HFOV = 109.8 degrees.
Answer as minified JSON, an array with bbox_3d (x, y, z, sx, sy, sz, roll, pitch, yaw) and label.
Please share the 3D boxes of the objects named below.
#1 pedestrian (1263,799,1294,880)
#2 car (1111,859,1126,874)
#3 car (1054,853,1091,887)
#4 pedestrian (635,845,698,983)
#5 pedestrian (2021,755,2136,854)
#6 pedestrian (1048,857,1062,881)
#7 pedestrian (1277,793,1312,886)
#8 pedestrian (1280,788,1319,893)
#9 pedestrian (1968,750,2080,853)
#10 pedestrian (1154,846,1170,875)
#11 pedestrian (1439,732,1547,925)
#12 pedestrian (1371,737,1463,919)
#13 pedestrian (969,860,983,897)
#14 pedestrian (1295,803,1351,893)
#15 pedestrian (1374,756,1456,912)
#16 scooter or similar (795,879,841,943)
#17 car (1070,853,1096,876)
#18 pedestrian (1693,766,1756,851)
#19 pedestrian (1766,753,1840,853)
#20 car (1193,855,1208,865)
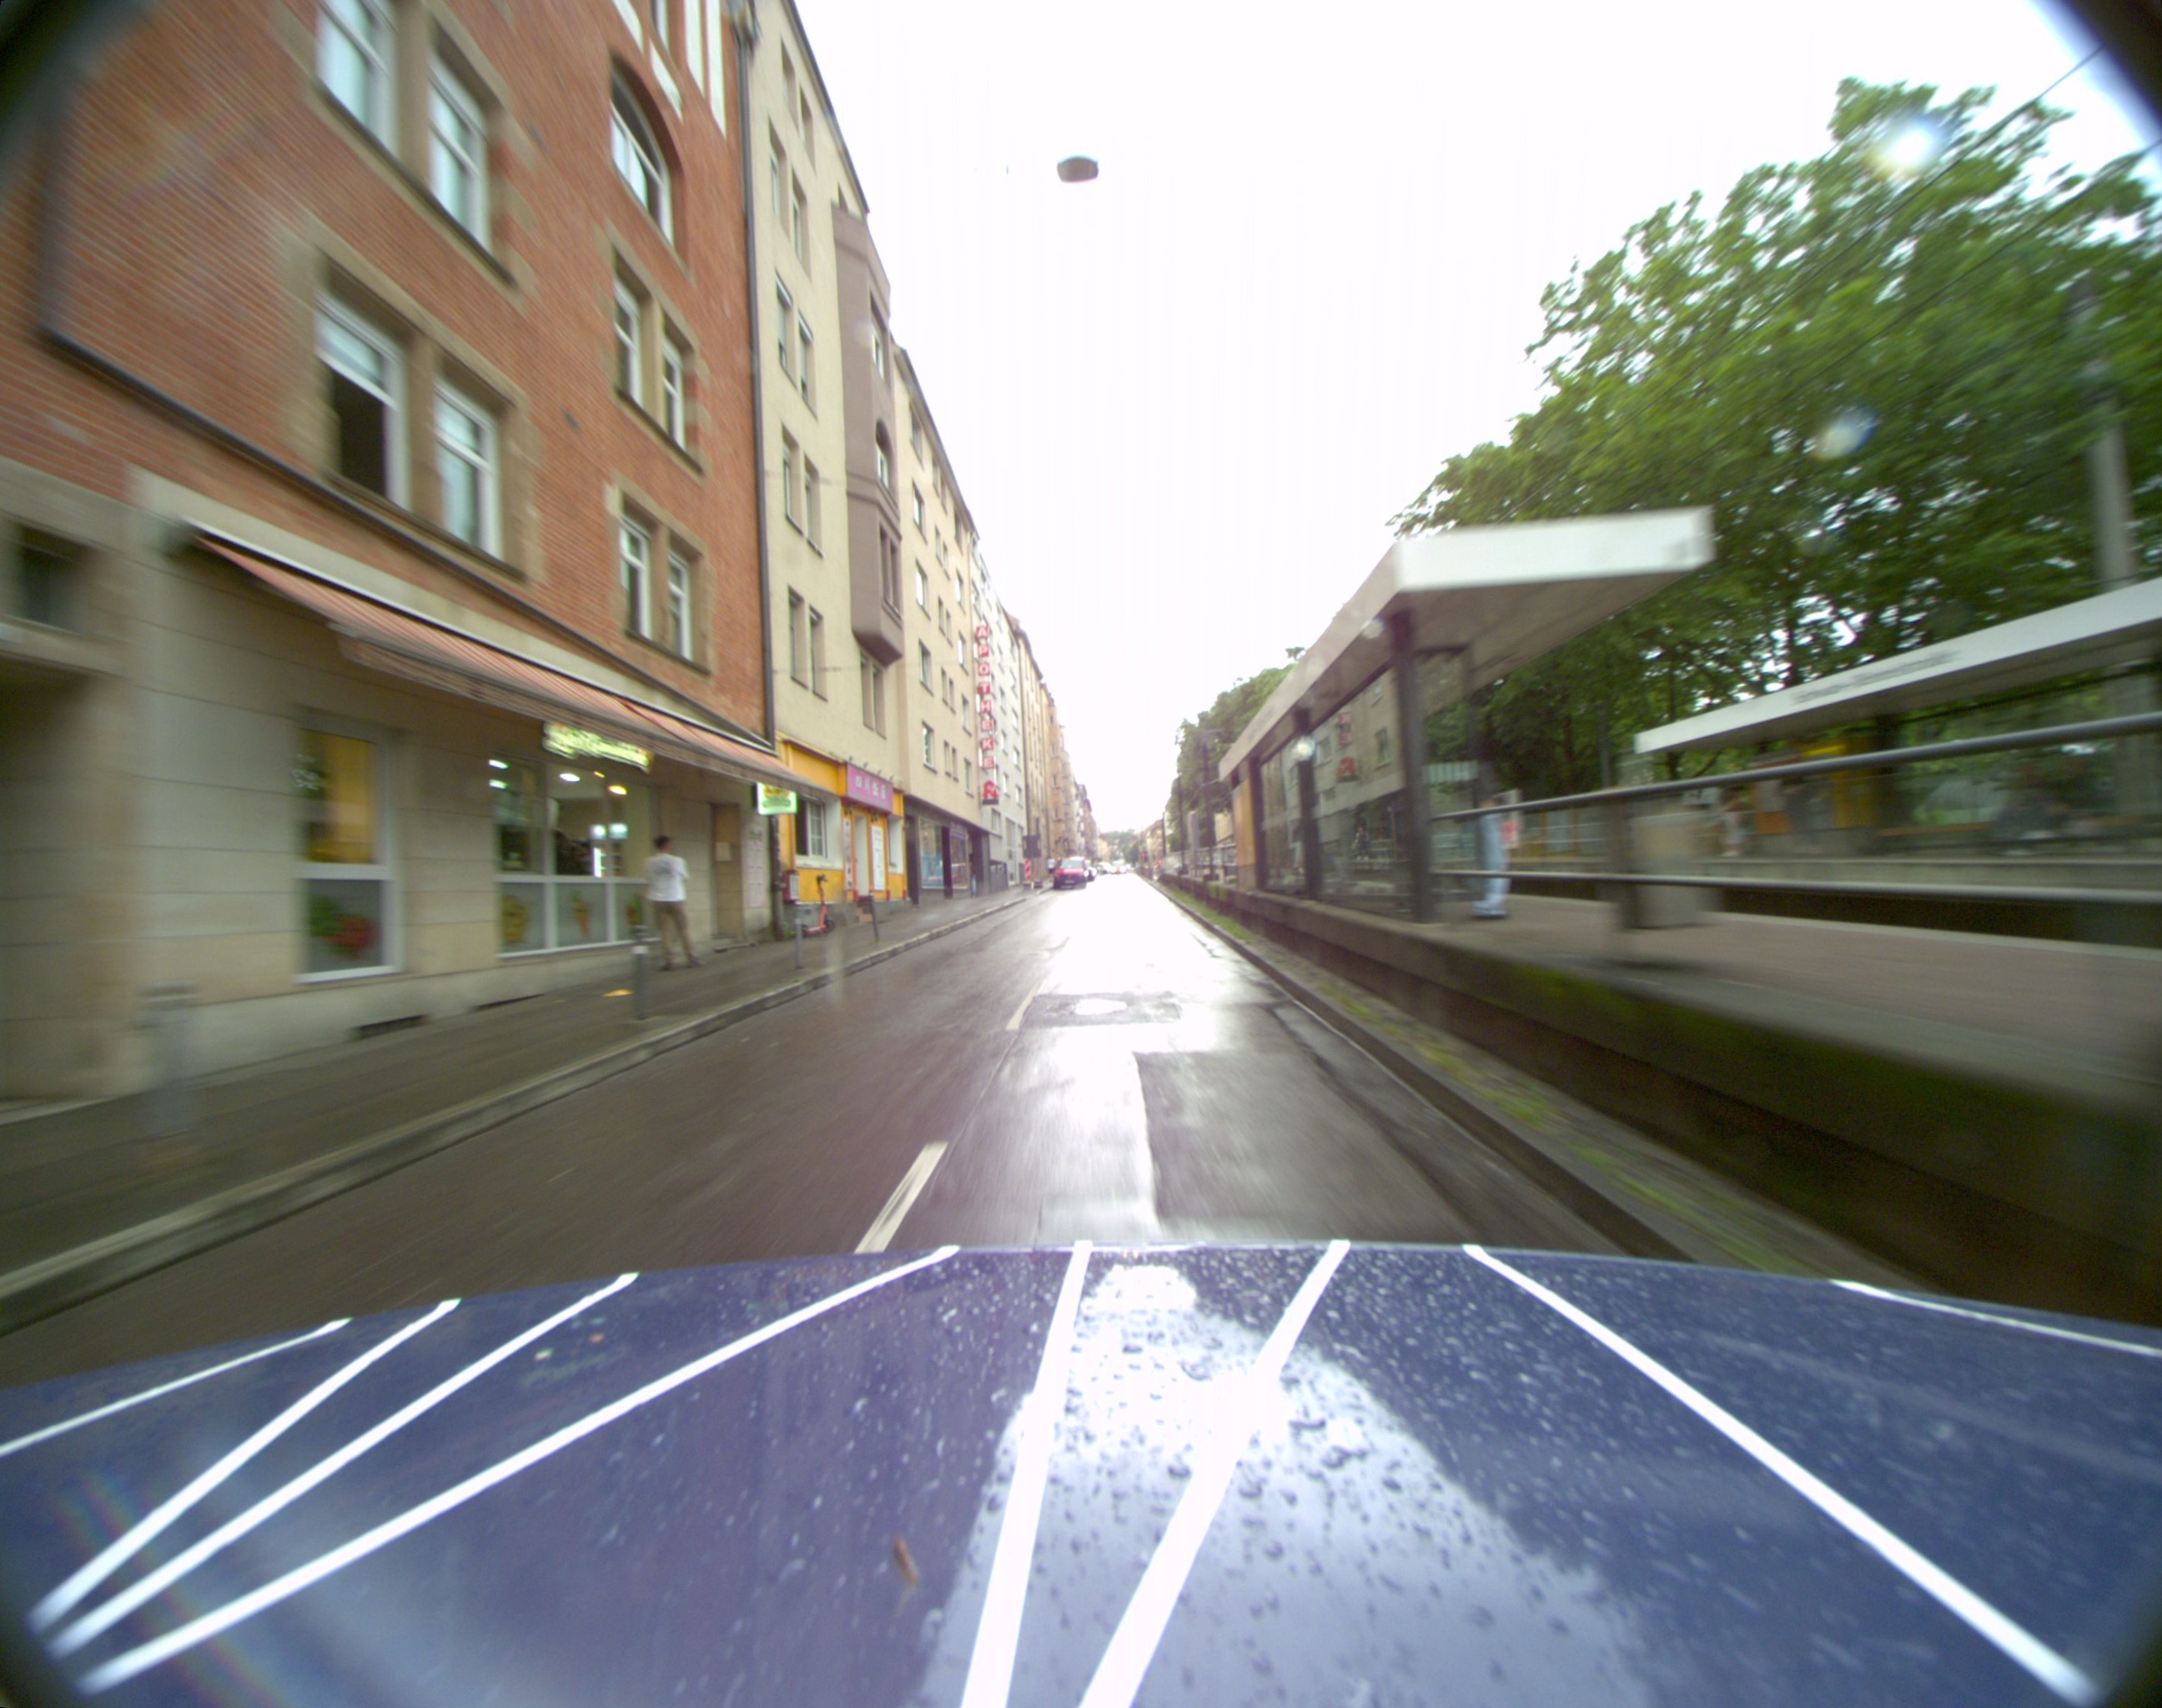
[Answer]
[{"bbox_3d":[4.036,-0.295,15.496,0.496,1.595,0.637,-2,1,19],"label":"pedestrian"},{"bbox_3d":[4.280,1.427,86.374,1.620,1.592,4.068,-2,-2,2],"label":"car"},{"bbox_3d":[-0.461,0.926,46.079,1.980,1.827,5.245,-2,0,1],"label":"car"},{"bbox_3d":[-5.687,0.793,10.421,0.562,1.820,0.580,2,2,38],"label":"pedestrian"},{"bbox_3d":[13.151,-0.637,10.035,0.705,1.233,0.564,-3,0,1],"label":"pedestrian"},{"bbox_3d":[-1.927,1.095,56.506,0.853,1.747,0.837,-4,0,3],"label":"pedestrian"},{"bbox_3d":[3.766,-0.248,13.427,0.410,1.595,0.450,-2,1,-3],"label":"pedestrian"},{"bbox_3d":[3.411,-0.206,11.851,0.506,1.580,0.528,-3,0,16],"label":"pedestrian"},{"bbox_3d":[13.187,-0.712,10.645,0.779,1.354,0.564,-3,0,1],"label":"pedestrian"},{"bbox_3d":[5.196,0.431,48.742,0.861,1.788,0.787,-3,0,2],"label":"pedestrian"},{"bbox_3d":[3.534,-0.205,6.551,0.615,1.572,0.507,-3,0,6],"label":"pedestrian"},{"bbox_3d":[3.277,-0.242,7.453,0.615,1.678,0.587,-3,0,6],"label":"pedestrian"},{"bbox_3d":[-4.815,1.127,34.805,0.482,1.635,0.331,-3,0,-14],"label":"pedestrian"},{"bbox_3d":[3.406,-0.079,10.741,0.615,1.219,0.507,-3,0,6],"label":"pedestrian"},{"bbox_3d":[3.509,-0.200,8.015,0.615,1.572,0.507,-3,0,6],"label":"pedestrian"},{"bbox_3d":[-5.373,1.151,15.574,0.258,1.214,1.196,-3,0,12],"label":"scooter or similar"},{"bbox_3d":[0.223,0.823,61.789,1.769,1.698,4.501,-2,-1,4],"label":"car"},{"bbox_3d":[12.925,-0.895,15.279,0.688,1.631,0.564,-3,0,1],"label":"pedestrian"},{"bbox_3d":[12.971,-0.893,13.677,0.563,1.705,0.706,-3,0,1],"label":"pedestrian"},{"bbox_3d":[18.870,0.889,119.862,1.891,1.468,3.808,-4,0,4],"label":"car"}]
